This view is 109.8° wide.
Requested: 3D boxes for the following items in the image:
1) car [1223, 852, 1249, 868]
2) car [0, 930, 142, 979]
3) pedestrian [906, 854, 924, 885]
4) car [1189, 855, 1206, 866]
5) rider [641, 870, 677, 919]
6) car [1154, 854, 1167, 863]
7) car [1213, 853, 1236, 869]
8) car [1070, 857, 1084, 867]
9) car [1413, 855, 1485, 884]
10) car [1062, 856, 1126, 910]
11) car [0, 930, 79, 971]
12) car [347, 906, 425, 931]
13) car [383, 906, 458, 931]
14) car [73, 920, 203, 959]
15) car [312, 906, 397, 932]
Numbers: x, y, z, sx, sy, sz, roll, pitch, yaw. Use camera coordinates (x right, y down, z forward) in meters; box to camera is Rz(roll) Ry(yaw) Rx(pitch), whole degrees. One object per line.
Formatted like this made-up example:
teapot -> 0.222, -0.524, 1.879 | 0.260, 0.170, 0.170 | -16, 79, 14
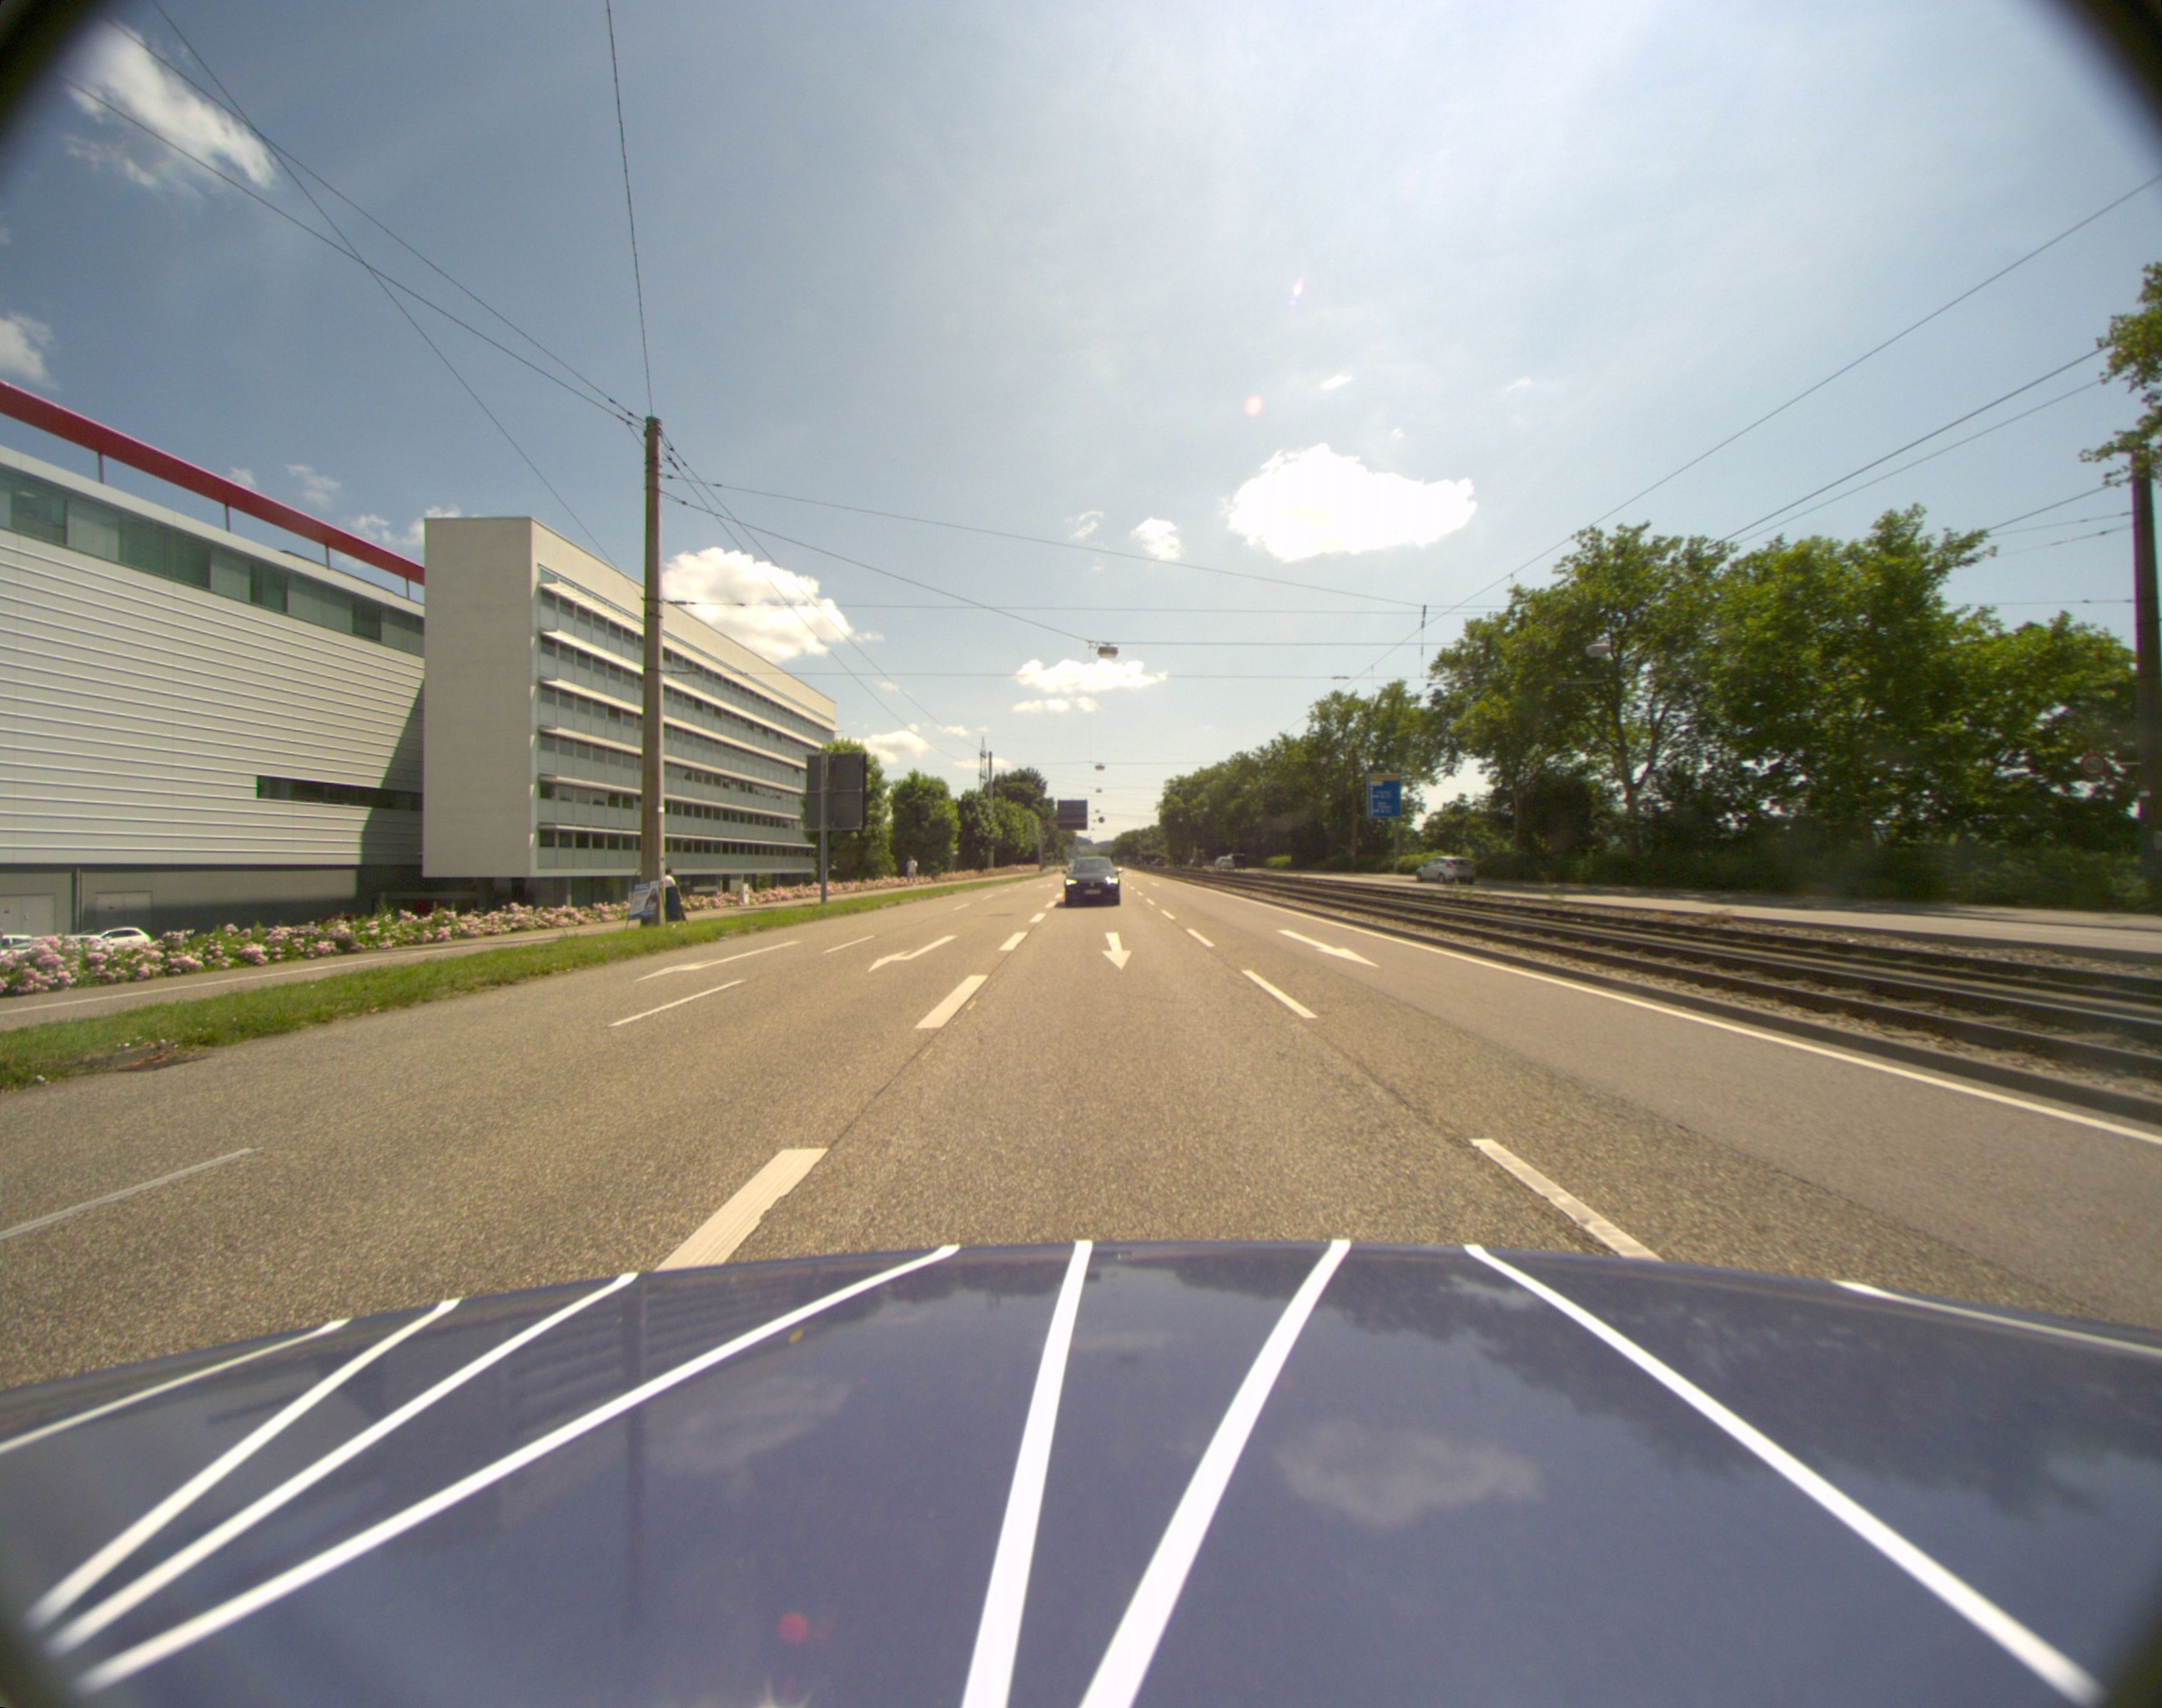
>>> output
car -> 18.570, 0.728, 91.051 | 1.999, 1.820, 4.969 | 1, 0, -1
car -> -48.615, 4.713, 35.921 | 1.998, 1.602, 5.146 | -2, 0, 1
pedestrian -> -9.811, 0.912, 44.942 | 0.758, 1.838, 0.931 | -2, 1, 3
car -> 18.959, 1.015, 124.000 | 1.999, 1.660, 4.467 | 1, 0, -1
rider -> -12.712, 1.214, 22.905 | 0.671, 1.449, 0.618 | -2, 1, 1
car -> 16.654, 0.957, 158.968 | 1.999, 1.820, 4.969 | 1, 0, -1
car -> 15.494, 0.743, 82.177 | 1.690, 1.574, 4.058 | 2, 0, -1
car -> -0.619, 1.132, 111.587 | 1.896, 1.331, 4.000 | -2, 0, 1
car -> 19.266, 0.758, 39.952 | 1.827, 1.407, 3.883 | 1, 0, -1
car -> 0.427, 0.899, 25.357 | 1.898, 1.564, 4.511 | -1, 0, 1
car -> -50.938, 4.639, 35.843 | 1.998, 1.602, 4.000 | -2, 0, 1
car -> -48.060, 4.437, 52.672 | 1.648, 1.377, 4.000 | -2, 0, 1
car -> -45.488, 4.414, 52.415 | 1.609, 1.314, 4.000 | -2, 0, 1
car -> -51.157, 4.625, 41.368 | 1.998, 1.602, 4.000 | -2, 0, 1
car -> -50.414, 4.490, 52.848 | 1.998, 1.438, 4.000 | -2, 0, 1
